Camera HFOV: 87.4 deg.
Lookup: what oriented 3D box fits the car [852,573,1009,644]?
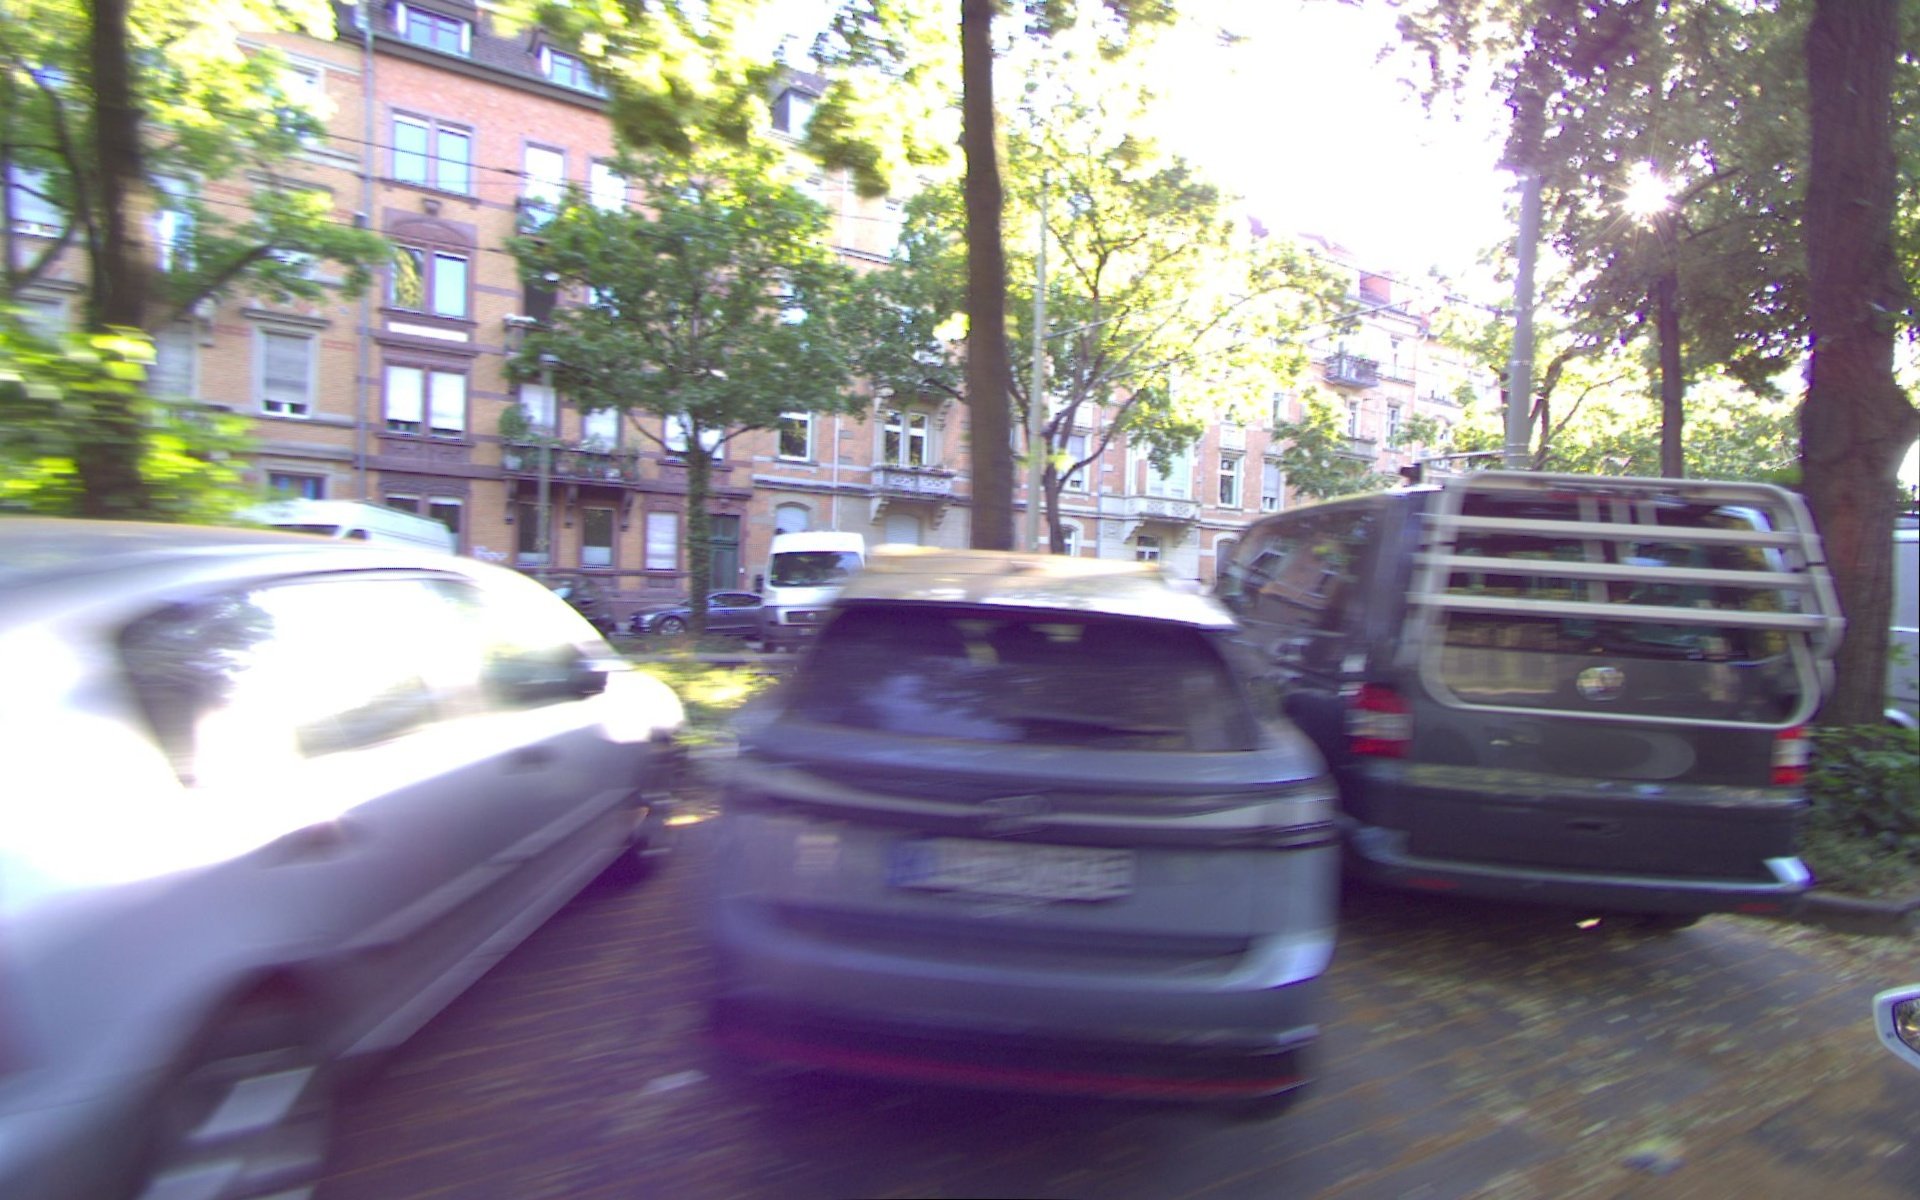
[{"bbox_3d":[-0.899,0.252,31.629,4.609,2.032,1.840,1,4,-32],"label":"car"}]

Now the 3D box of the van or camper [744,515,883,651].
[{"bbox_3d":[-2.855,-0.291,20.935,2.263,2.402,5.550,1,0,-3],"label":"van or camper"}]

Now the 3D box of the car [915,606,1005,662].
[{"bbox_3d":[-0.085,0.716,22.356,1.791,1.112,4.167,1,-1,-2],"label":"car"}]

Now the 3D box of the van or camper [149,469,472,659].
[{"bbox_3d":[-10.048,-0.466,16.271,1.962,2.501,5.672,1,0,-6],"label":"van or camper"}]

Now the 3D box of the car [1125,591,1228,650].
[{"bbox_3d":[5.439,0.462,25.715,1.604,1.327,4.188,2,0,-1],"label":"car"}]

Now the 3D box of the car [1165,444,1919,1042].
[{"bbox_3d":[2.558,0.383,5.849,1.896,1.969,4.714,4,3,3],"label":"car"}]

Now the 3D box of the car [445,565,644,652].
[{"bbox_3d":[-7.498,0.154,18.620,1.696,1.380,4.325,1,0,3],"label":"car"}]

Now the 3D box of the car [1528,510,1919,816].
[{"bbox_3d":[7.866,0.395,9.209,2.040,2.166,5.513,3,3,0],"label":"car"}]

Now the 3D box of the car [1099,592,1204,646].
[{"bbox_3d":[7.148,0.686,37.406,3.469,1.807,1.840,1,4,-32],"label":"car"}]

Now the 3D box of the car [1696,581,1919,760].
[{"bbox_3d":[10.308,0.776,10.248,1.898,1.638,4.514,3,3,-5],"label":"car"}]

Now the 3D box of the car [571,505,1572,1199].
[{"bbox_3d":[0.306,0.537,4.281,1.896,1.561,4.572,4,3,3],"label":"car"}]

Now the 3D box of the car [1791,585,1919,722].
[{"bbox_3d":[12.955,0.778,12.221,1.817,1.638,4.518,3,3,0],"label":"car"}]

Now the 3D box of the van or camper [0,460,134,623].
[{"bbox_3d":[-20.087,-1.199,19.891,5.454,3.151,2.063,2,1,-32],"label":"van or camper"}]

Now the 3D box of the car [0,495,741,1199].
[{"bbox_3d":[-2.082,0.487,3.133,1.749,1.508,4.093,4,3,1],"label":"car"}]

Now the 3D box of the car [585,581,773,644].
[{"bbox_3d":[-7.659,0.330,27.495,4.609,1.493,1.840,1,4,-32],"label":"car"}]

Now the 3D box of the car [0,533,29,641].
[{"bbox_3d":[-15.298,-0.220,13.253,1.868,1.603,4.325,1,0,3],"label":"car"}]
